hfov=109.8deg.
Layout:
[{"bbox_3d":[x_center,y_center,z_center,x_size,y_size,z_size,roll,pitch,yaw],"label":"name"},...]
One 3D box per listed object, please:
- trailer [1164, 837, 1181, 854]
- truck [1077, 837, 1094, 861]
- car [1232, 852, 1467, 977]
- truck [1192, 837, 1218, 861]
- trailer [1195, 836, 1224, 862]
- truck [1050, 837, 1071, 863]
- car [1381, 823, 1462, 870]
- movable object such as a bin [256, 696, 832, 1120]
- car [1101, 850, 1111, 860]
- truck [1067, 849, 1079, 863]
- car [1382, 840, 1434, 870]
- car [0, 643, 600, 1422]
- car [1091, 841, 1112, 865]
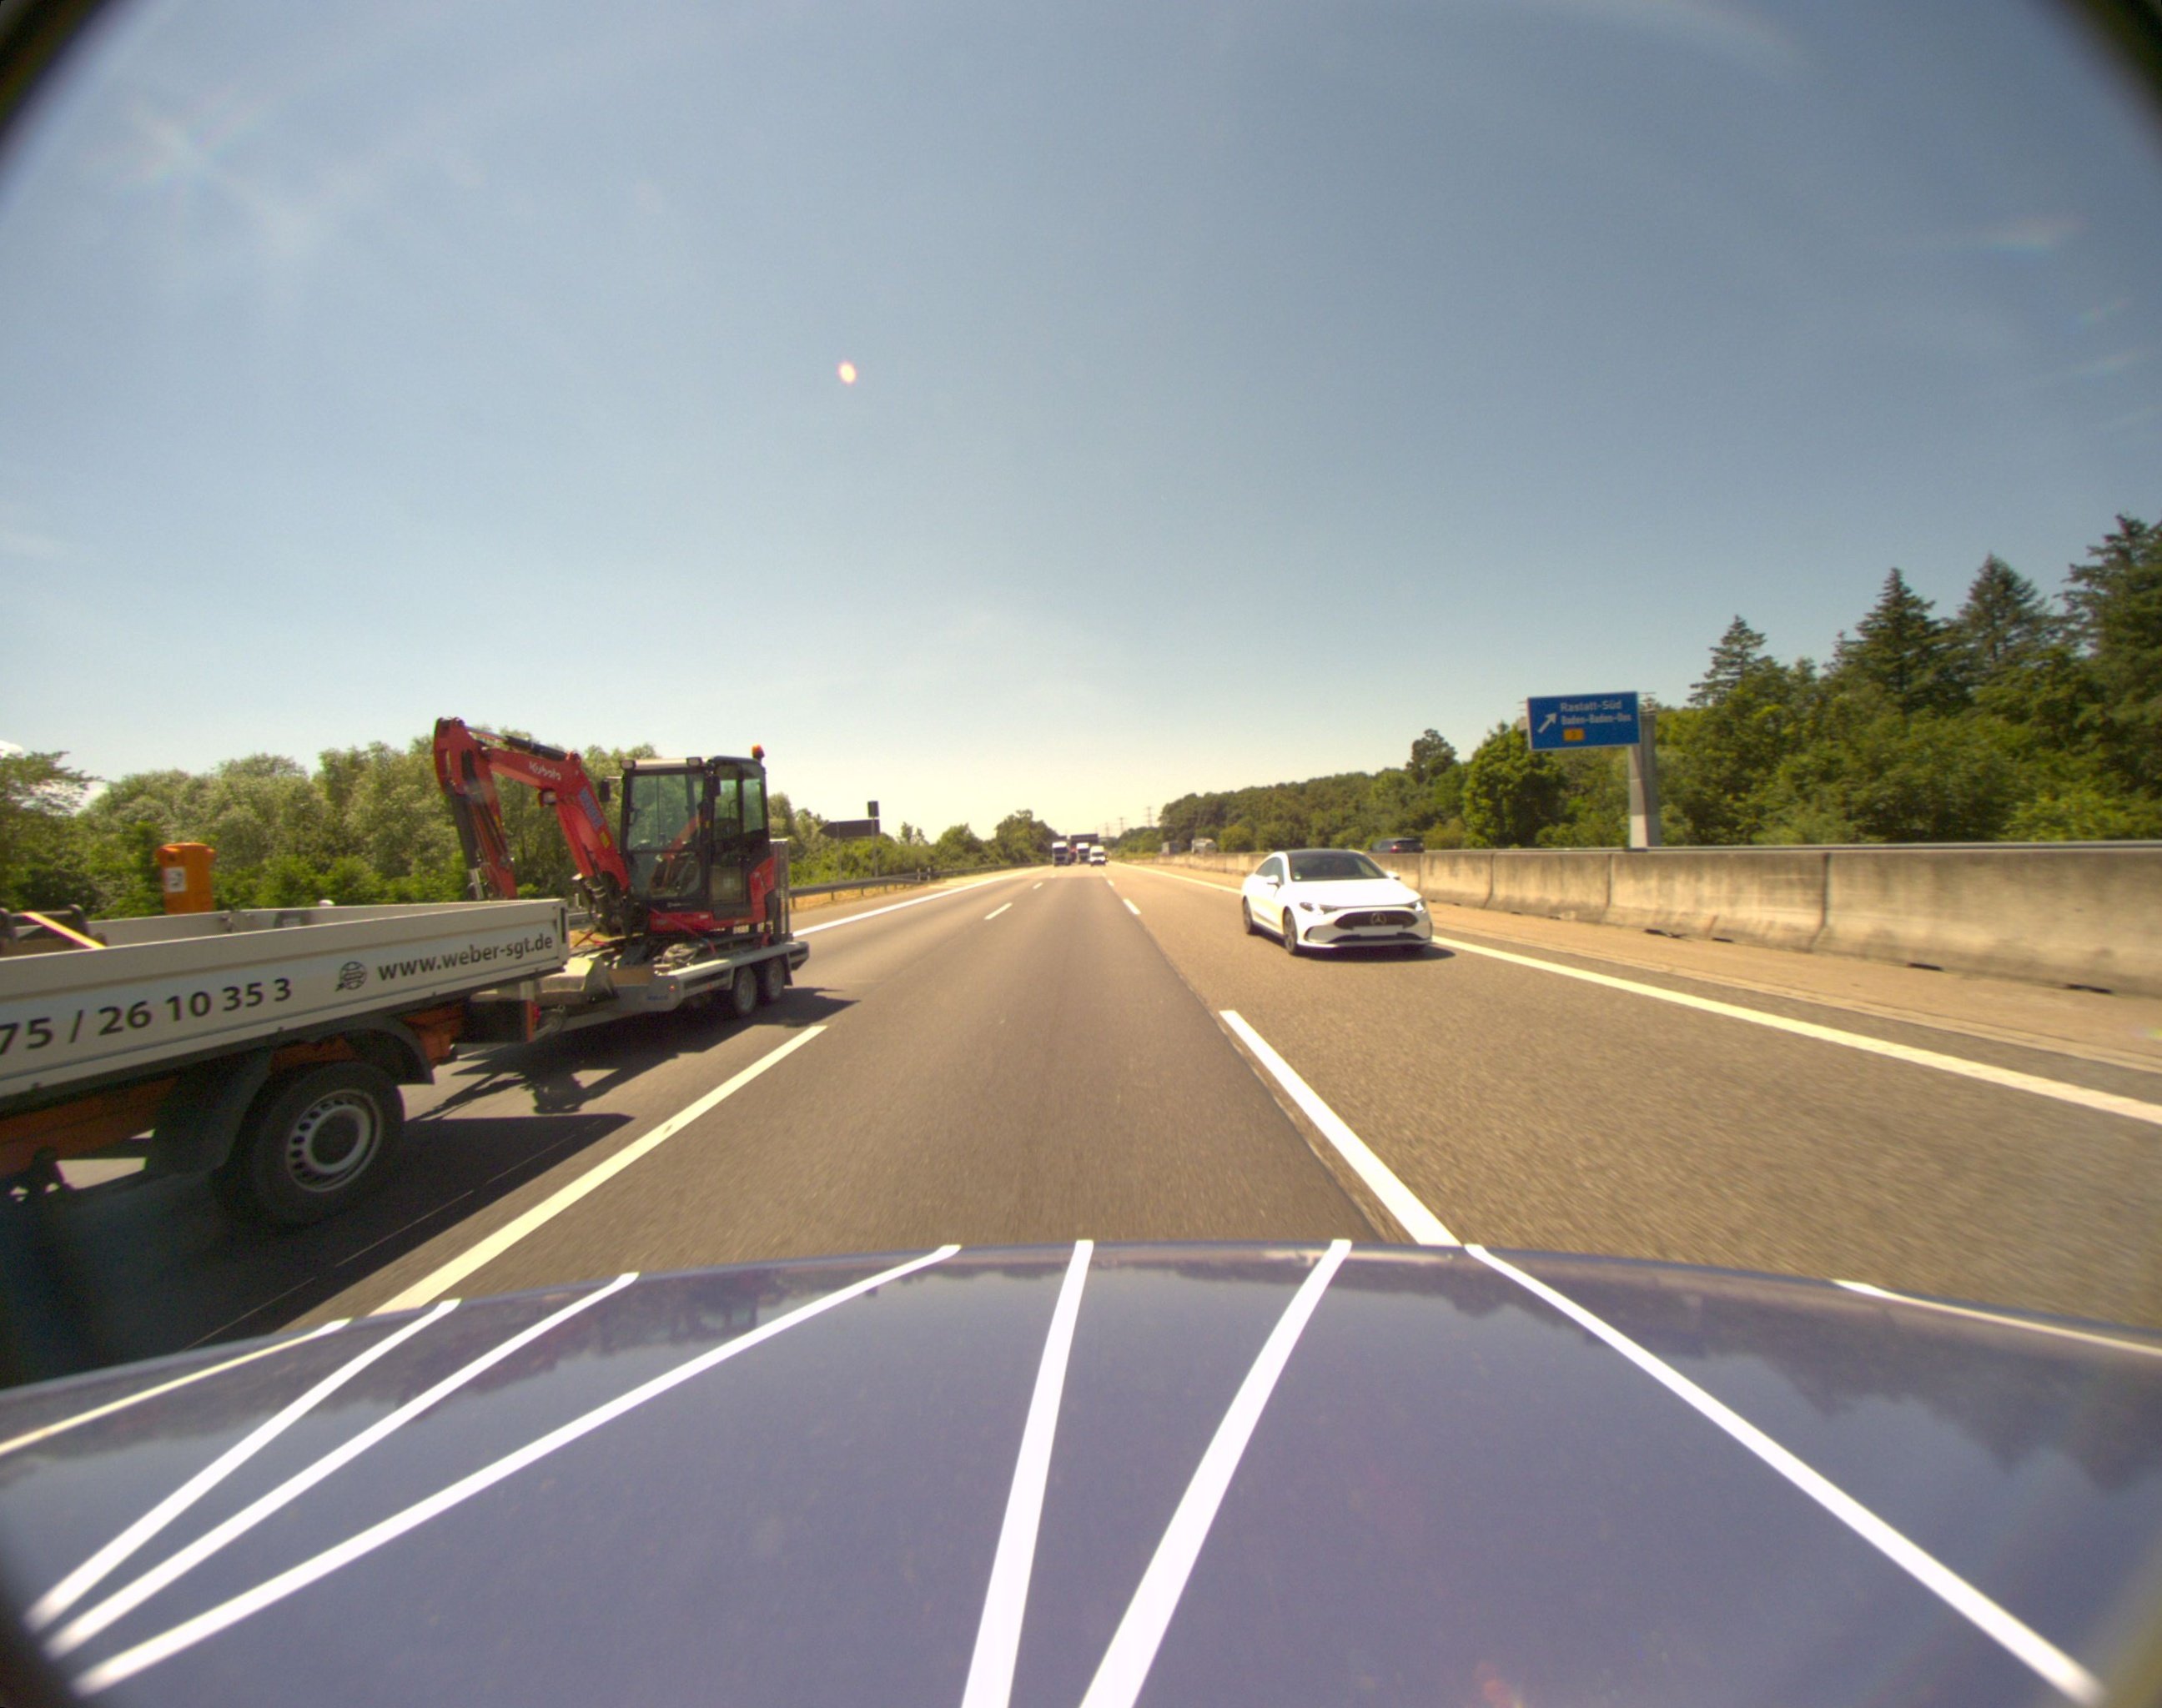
[{"bbox_3d":[23.077,-2.088,191.870,2.992,4.052,11.774,-3,0,1],"label":"trailer"},{"bbox_3d":[0.926,-0.977,150.516,2.700,4.231,8.244,-5,0,2],"label":"truck"},{"bbox_3d":[3.717,0.732,11.620,1.771,1.440,5.108,-2,0,0],"label":"car"},{"bbox_3d":[22.068,-0.890,135.802,2.814,4.024,7.729,-5,0,-1],"label":"truck"},{"bbox_3d":[22.098,-0.809,131.598,2.814,4.023,10.429,-5,0,-1],"label":"trailer"},{"bbox_3d":[-3.458,-0.668,130.976,2.990,4.187,7.593,-3,0,2],"label":"truck"},{"bbox_3d":[15.879,-0.358,35.657,1.998,2.002,4.000,-2,0,1],"label":"car"},{"bbox_3d":[-4.431,0.369,7.559,2.179,2.799,4.761,-3,0,1],"label":"movable object such as a bin"},{"bbox_3d":[5.221,0.249,160.437,1.998,2.002,4.000,-2,1,2],"label":"car"},{"bbox_3d":[-2.074,0.559,211.888,2.852,3.747,6.495,-5,0,1],"label":"truck"},{"bbox_3d":[23.914,0.054,55.756,1.998,2.002,4.429,-2,0,2],"label":"car"},{"bbox_3d":[-4.345,0.581,1.518,1.998,2.391,7.226,-3,0,1],"label":"car"},{"bbox_3d":[2.737,-0.158,101.412,2.522,2.857,6.400,-5,0,2],"label":"car"}]
